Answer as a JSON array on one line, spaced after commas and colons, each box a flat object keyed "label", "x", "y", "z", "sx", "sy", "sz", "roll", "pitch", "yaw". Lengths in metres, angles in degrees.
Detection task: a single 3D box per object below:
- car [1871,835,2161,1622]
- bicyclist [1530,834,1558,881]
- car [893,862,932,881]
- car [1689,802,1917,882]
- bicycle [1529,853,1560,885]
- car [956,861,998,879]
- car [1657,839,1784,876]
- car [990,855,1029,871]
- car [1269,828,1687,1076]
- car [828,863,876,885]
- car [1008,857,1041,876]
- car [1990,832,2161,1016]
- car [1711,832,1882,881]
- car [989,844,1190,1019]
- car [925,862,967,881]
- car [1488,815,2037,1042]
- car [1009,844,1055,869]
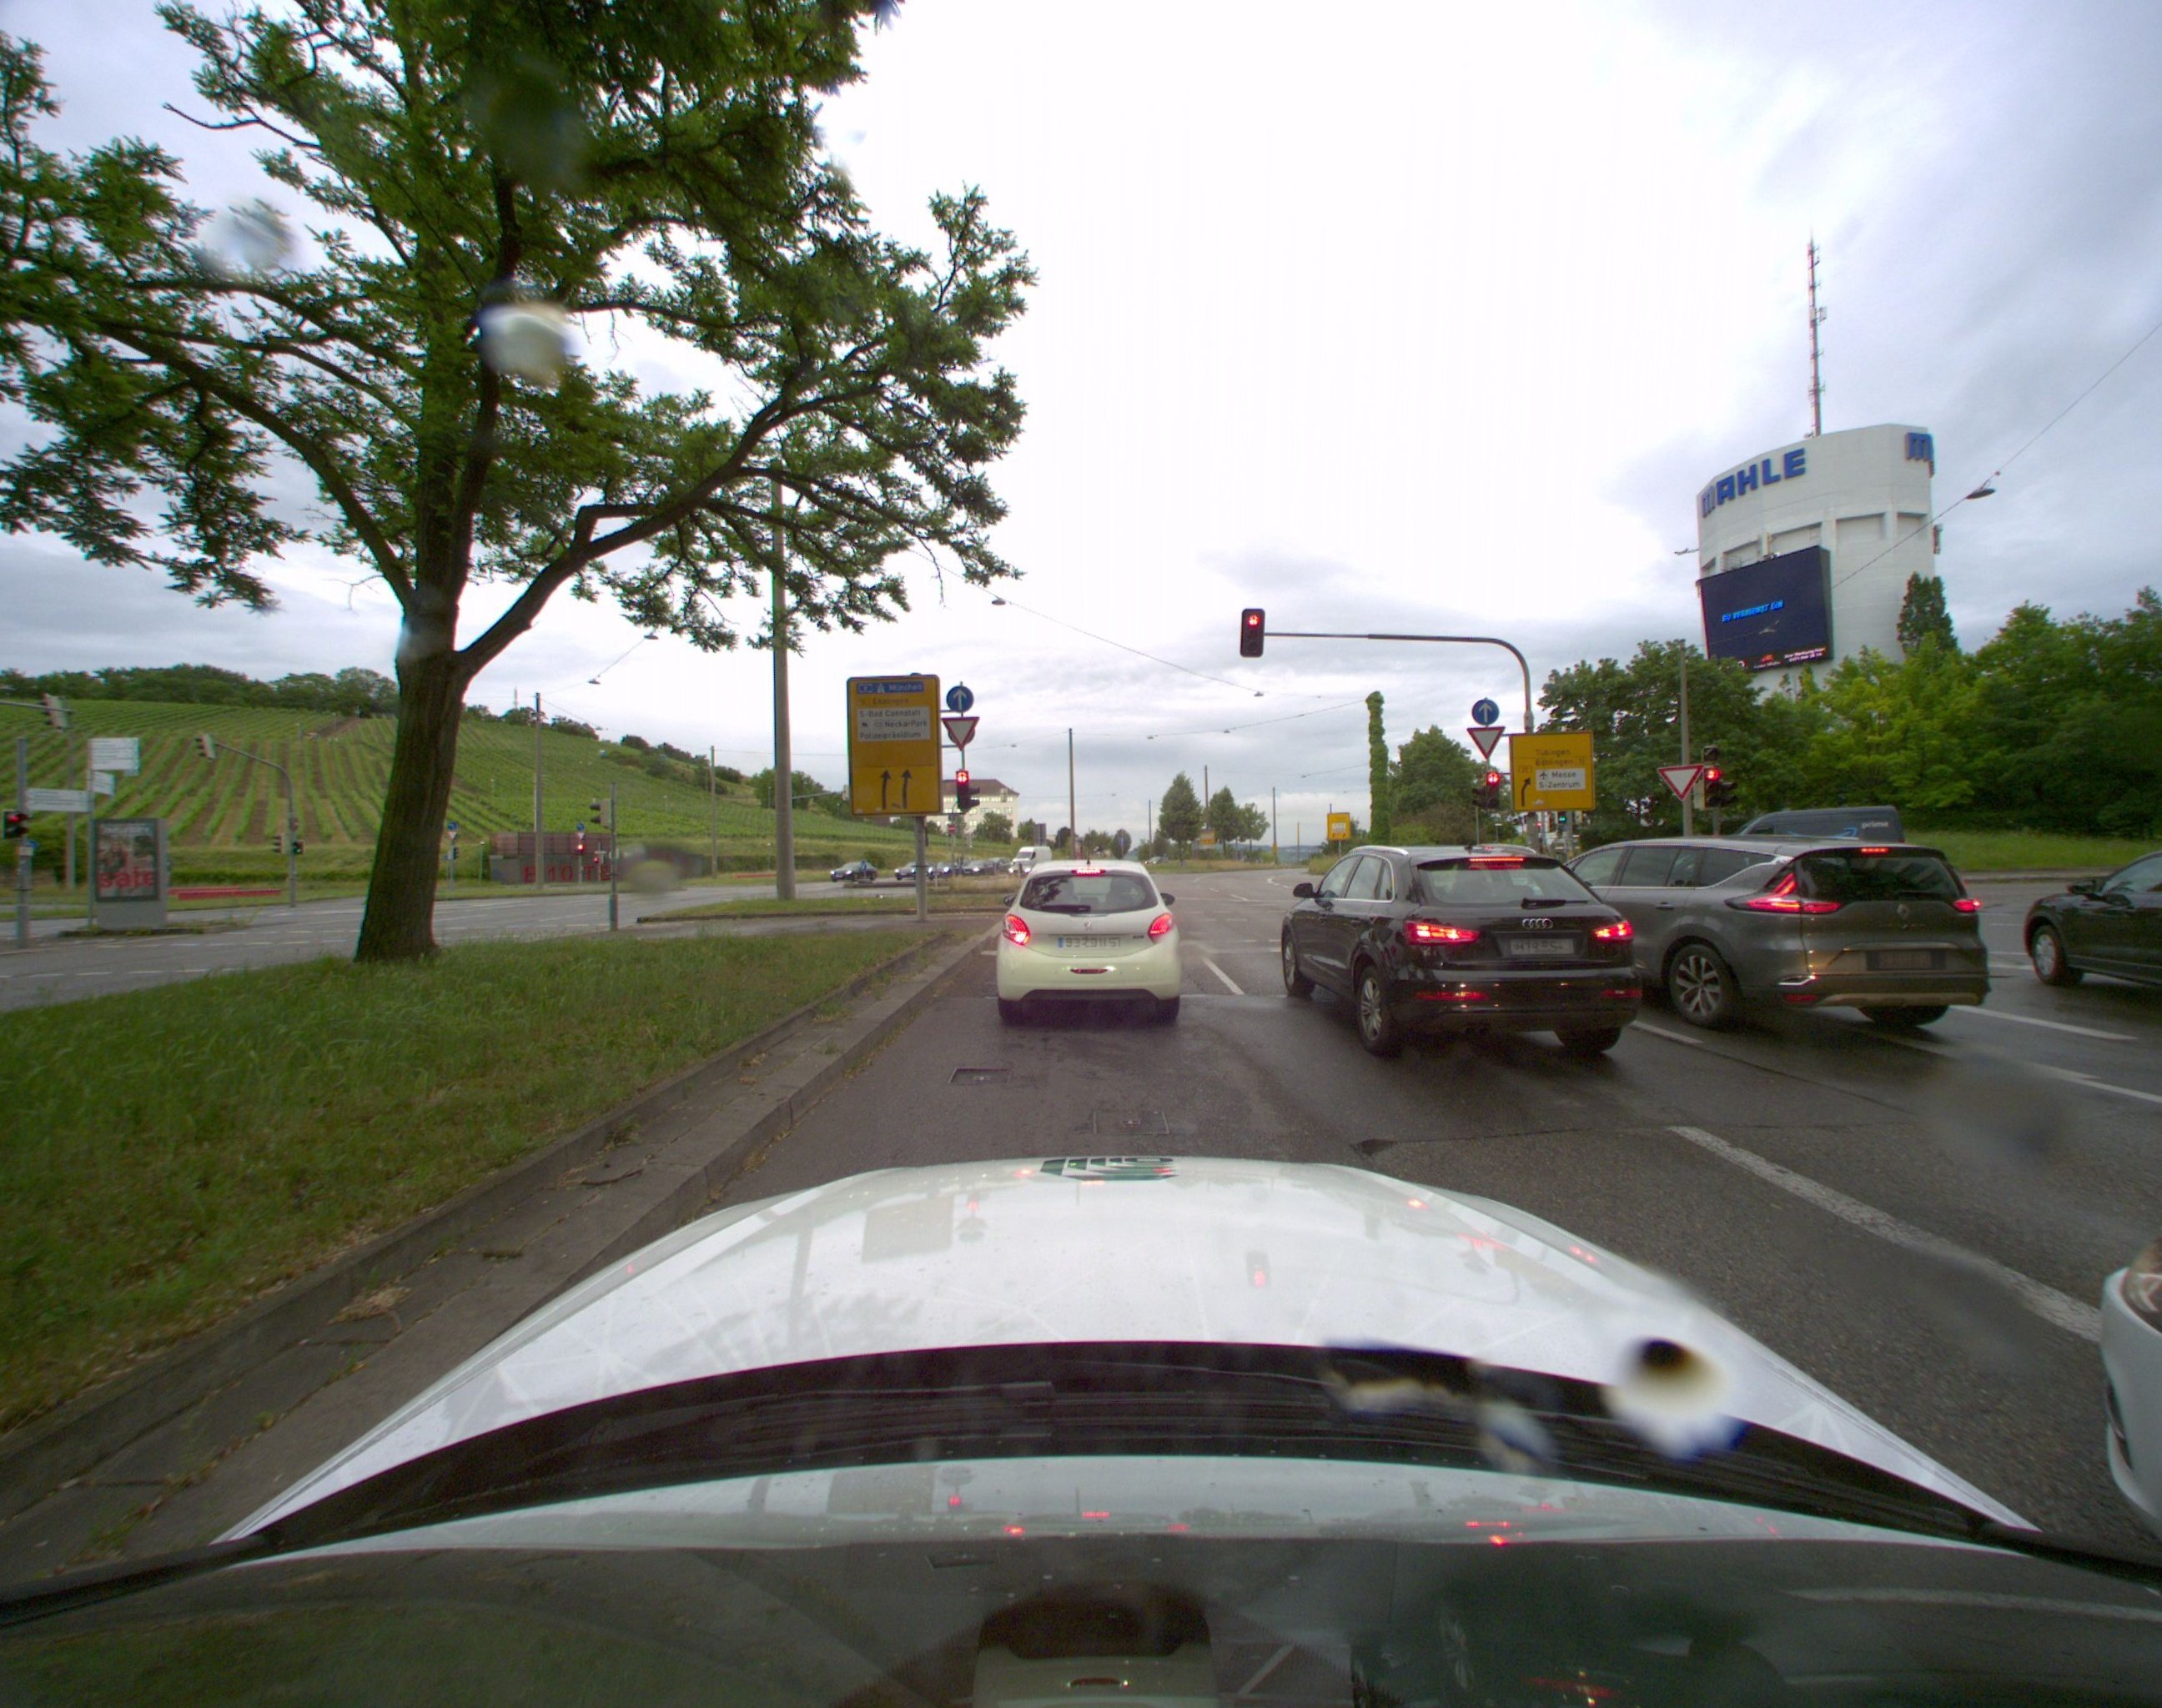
[{"label": "car", "x": 2.800, "y": 0.675, "z": 0.131, "sx": 1.734, "sy": 1.432, "sz": 3.813, "roll": 1, "pitch": -1, "yaw": 1}, {"label": "bicyclist", "x": 15.890, "y": 0.127, "z": 27.979, "sx": 0.801, "sy": 1.584, "sz": 1.029, "roll": 0, "pitch": -1, "yaw": 28}, {"label": "car", "x": -13.153, "y": 1.366, "z": 63.638, "sx": 1.777, "sy": 1.395, "sz": 3.889, "roll": 0, "pitch": -1, "yaw": 7}, {"label": "car", "x": 26.504, "y": -0.362, "z": 30.267, "sx": 5.953, "sy": 2.741, "sz": 2.094, "roll": -1, "pitch": -2, "yaw": 28}, {"label": "bicycle", "x": 15.887, "y": 0.500, "z": 27.954, "sx": 0.801, "sy": 1.023, "sz": 2.342, "roll": -2, "pitch": -1, "yaw": 28}, {"label": "car", "x": -8.644, "y": 1.326, "z": 68.197, "sx": 1.888, "sy": 1.489, "sz": 4.909, "roll": 0, "pitch": -1, "yaw": 13}, {"label": "car", "x": 28.446, "y": 0.181, "z": 36.381, "sx": 4.094, "sy": 1.564, "sz": 1.881, "roll": -1, "pitch": -1, "yaw": 22}, {"label": "car", "x": -7.061, "y": 0.904, "z": 80.599, "sx": 1.976, "sy": 1.575, "sz": 4.218, "roll": 0, "pitch": -1, "yaw": 24}, {"label": "car", "x": 3.072, "y": 0.661, "z": 7.385, "sx": 1.877, "sy": 1.595, "sz": 4.114, "roll": 1, "pitch": -1, "yaw": 1}, {"label": "car", "x": -17.192, "y": 1.466, "z": 61.400, "sx": 1.820, "sy": 1.623, "sz": 4.575, "roll": 1, "pitch": -1, "yaw": 7}, {"label": "car", "x": -4.392, "y": 0.970, "z": 63.833, "sx": 1.766, "sy": 1.425, "sz": 4.382, "roll": -2, "pitch": -1, "yaw": 7}, {"label": "car", "x": 10.339, "y": 0.577, "z": 7.132, "sx": 1.847, "sy": 1.498, "sz": 4.177, "roll": -3, "pitch": 0, "yaw": 29}, {"label": "car", "x": 24.345, "y": 0.138, "z": 27.910, "sx": 4.012, "sy": 1.569, "sz": 1.881, "roll": -1, "pitch": -2, "yaw": 25}, {"label": "car", "x": 0.115, "y": 0.682, "z": 8.985, "sx": 1.712, "sy": 1.489, "sz": 4.000, "roll": 0, "pitch": -1, "yaw": 1}, {"label": "car", "x": -10.121, "y": 1.347, "z": 61.231, "sx": 1.774, "sy": 1.395, "sz": 3.894, "roll": 0, "pitch": -1, "yaw": 12}, {"label": "car", "x": 6.221, "y": 0.532, "z": 8.349, "sx": 1.859, "sy": 1.674, "sz": 4.565, "roll": 0, "pitch": 1, "yaw": 0}, {"label": "car", "x": -5.147, "y": 0.280, "z": 86.762, "sx": 1.975, "sy": 2.559, "sz": 6.206, "roll": 0, "pitch": -1, "yaw": 27}]
